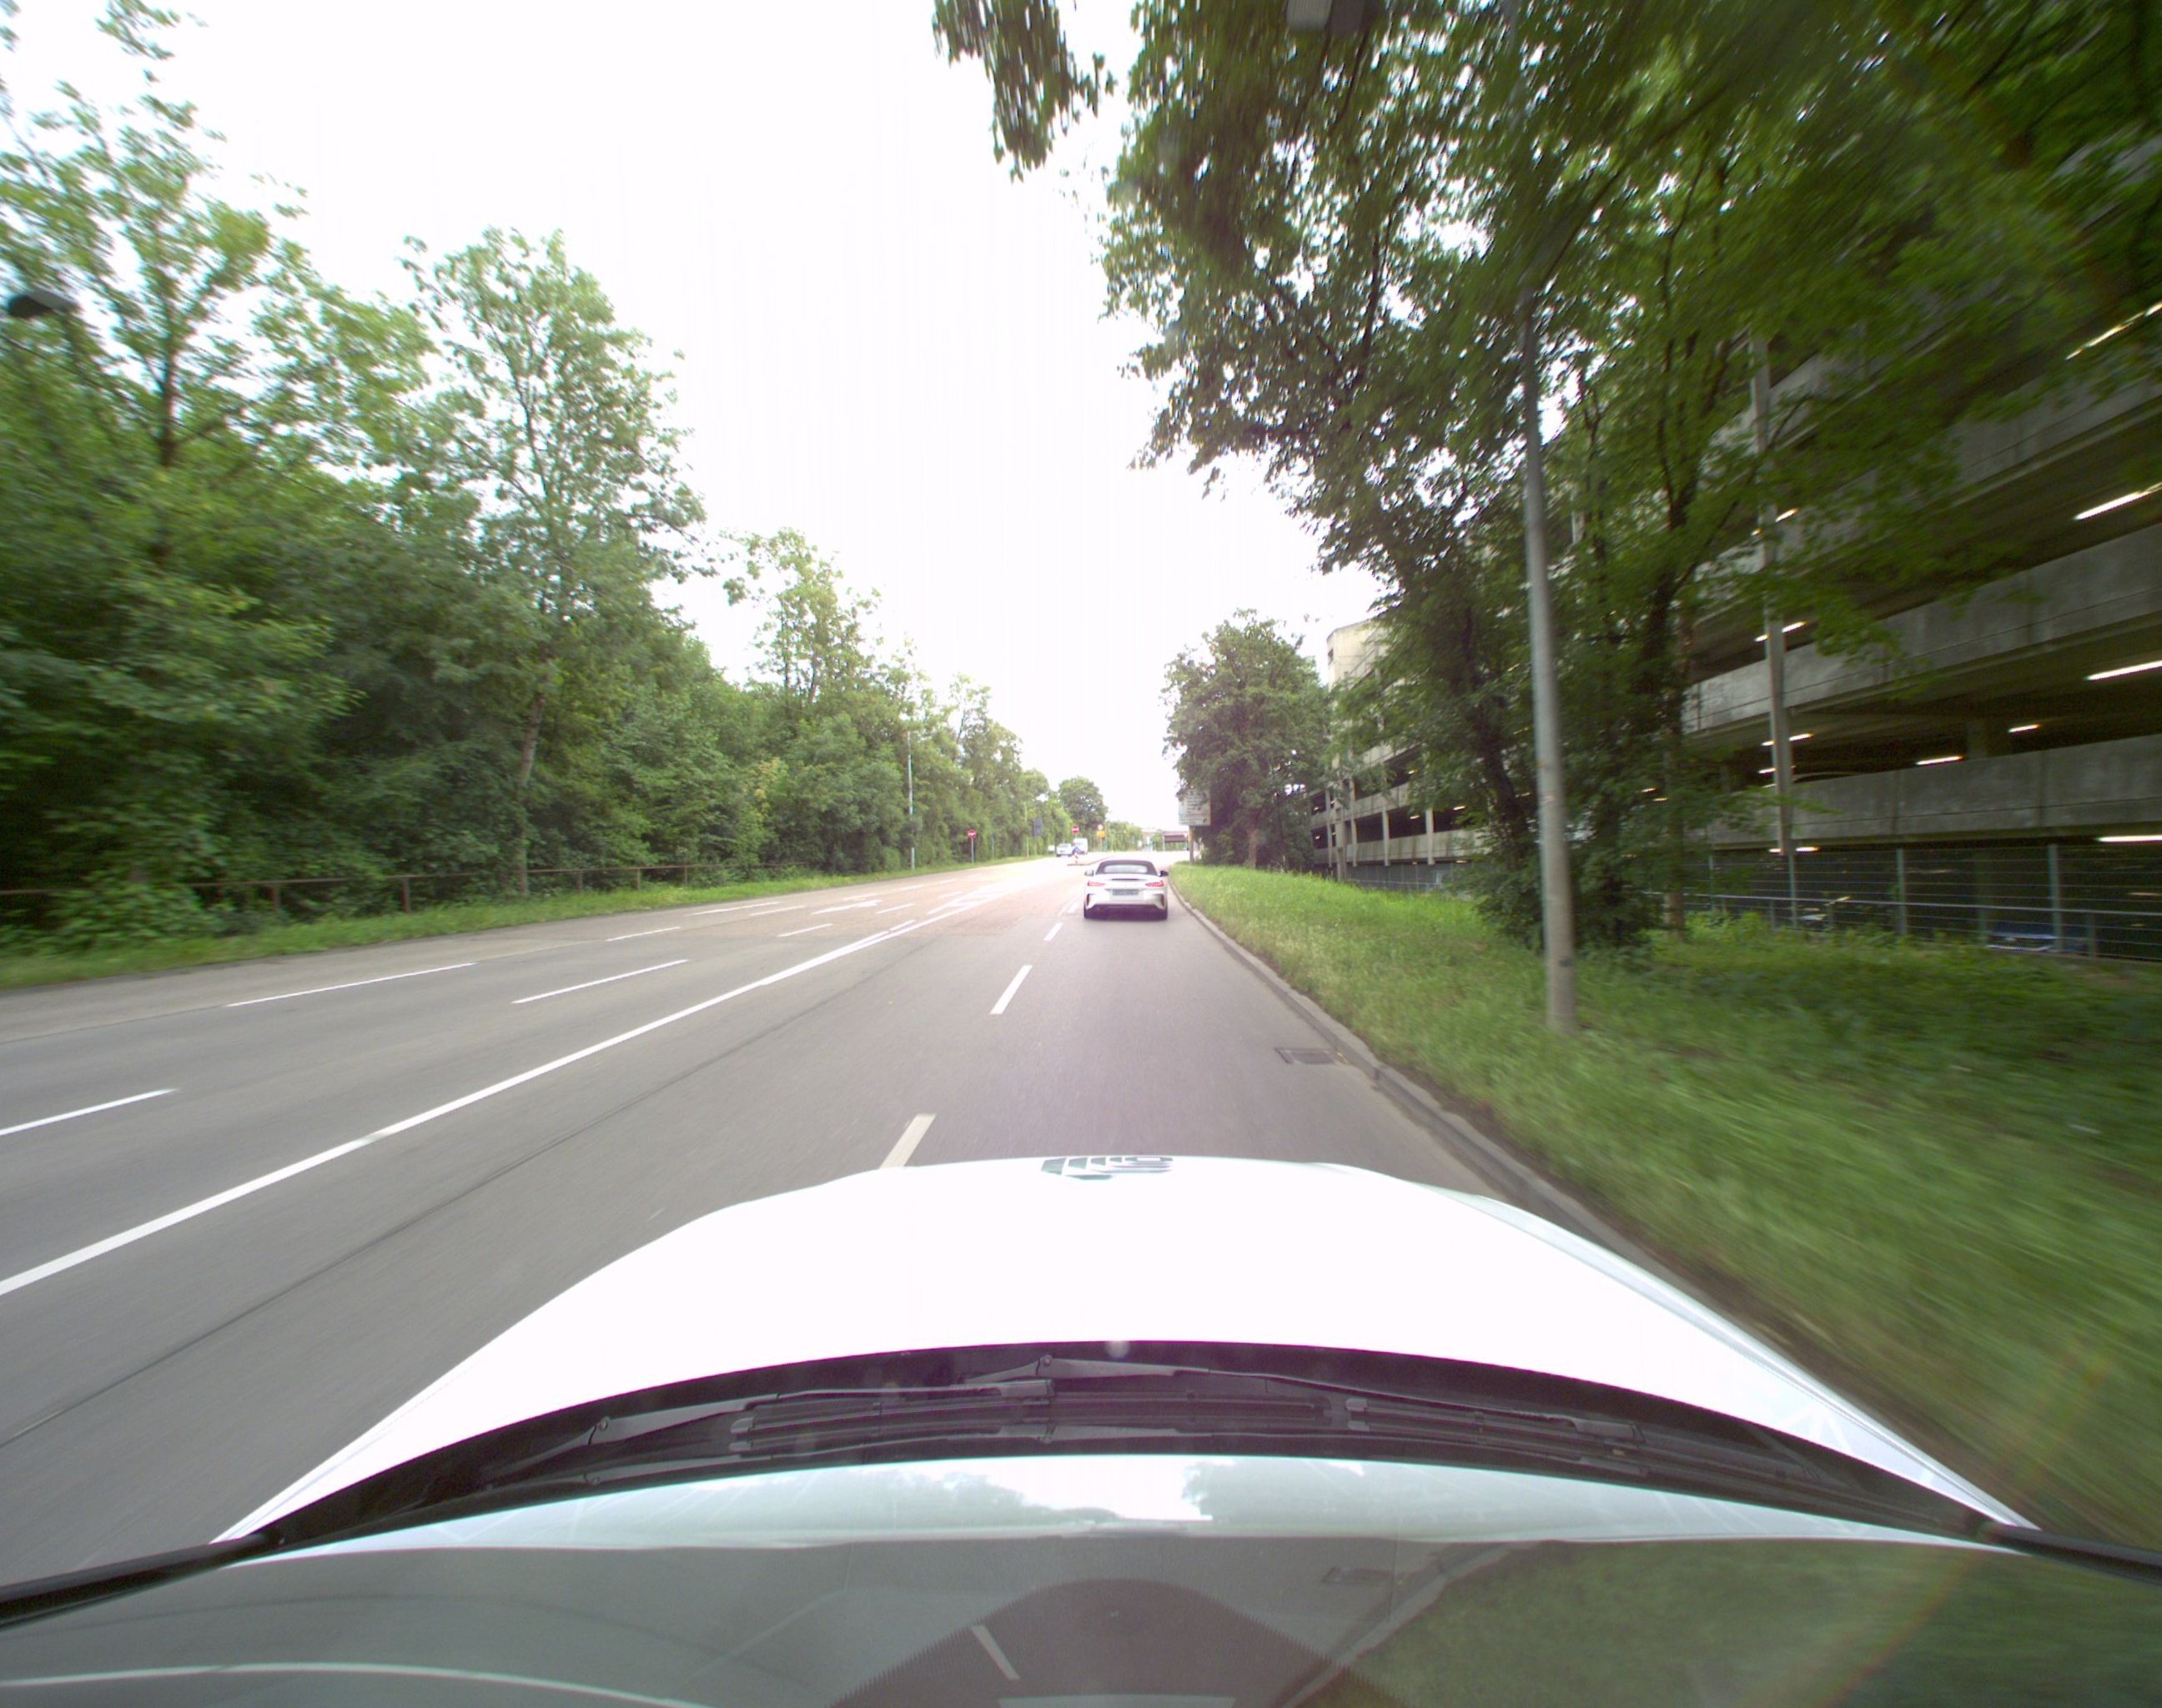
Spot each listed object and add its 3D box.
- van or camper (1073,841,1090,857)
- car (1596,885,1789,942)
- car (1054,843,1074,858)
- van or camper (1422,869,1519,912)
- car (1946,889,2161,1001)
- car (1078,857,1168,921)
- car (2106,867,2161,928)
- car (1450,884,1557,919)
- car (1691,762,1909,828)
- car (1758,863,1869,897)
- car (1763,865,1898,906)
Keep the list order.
[{"bbox_3d":[0.104,-0.809,130.646,2.272,2.555,6.868,0,0,5],"label":"van or camper"},{"bbox_3d":[19.309,1.865,25.883,4.570,1.506,1.950,-3,-1,3],"label":"car"},{"bbox_3d":[-2.287,-0.448,108.336,1.802,1.830,4.396,-2,1,10],"label":"car"},{"bbox_3d":[19.827,1.835,41.581,3.989,1.954,1.841,-2,-1,2],"label":"van or camper"},{"bbox_3d":[17.430,1.450,13.555,3.971,1.533,1.864,-2,-1,2],"label":"car"},{"bbox_3d":[1.024,0.748,19.204,1.866,1.309,3.877,1,0,4],"label":"car"},{"bbox_3d":[28.782,1.041,20.519,3.647,1.479,1.674,-3,-1,2],"label":"car"},{"bbox_3d":[19.761,2.190,38.217,3.989,1.436,1.950,-2,-2,2],"label":"car"},{"bbox_3d":[18.362,-1.480,20.980,3.811,1.343,1.837,-3,-1,8],"label":"car"},{"bbox_3d":[35.815,1.283,39.904,3.674,1.423,1.725,-3,-2,5],"label":"car"},{"bbox_3d":[29.989,1.254,32.667,3.642,1.441,1.677,-3,-1,7],"label":"car"}]
